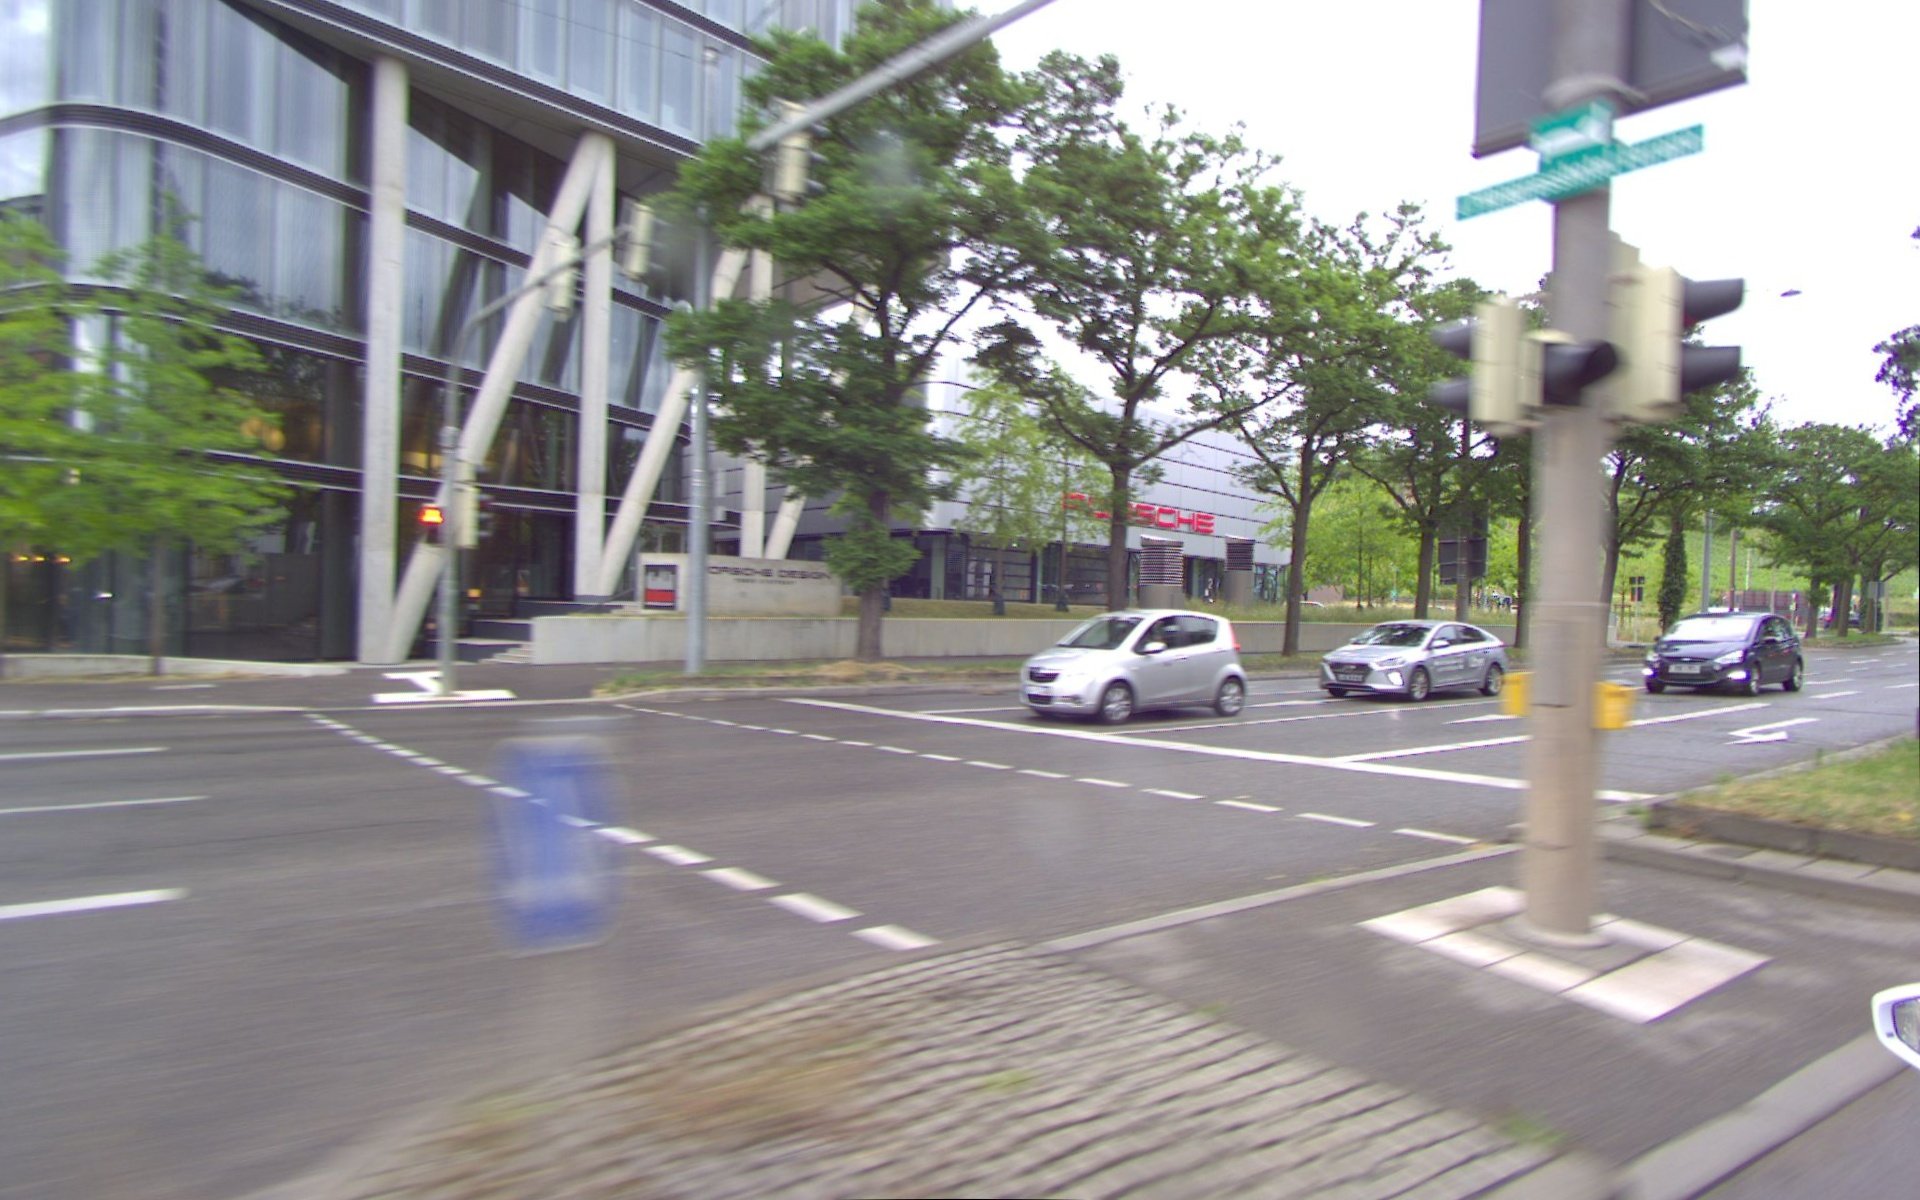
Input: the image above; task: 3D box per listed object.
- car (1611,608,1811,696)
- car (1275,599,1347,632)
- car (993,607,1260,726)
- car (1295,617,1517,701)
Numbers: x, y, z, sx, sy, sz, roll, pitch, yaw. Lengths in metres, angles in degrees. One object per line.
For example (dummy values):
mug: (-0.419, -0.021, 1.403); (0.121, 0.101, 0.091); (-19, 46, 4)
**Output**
car: (15.717, 1.015, 20.918); (5.072, 1.637, 1.980); (1, -1, -37)
car: (22.463, 1.000, 64.329); (3.938, 2.040, 1.991); (0, 0, 39)
car: (2.509, 0.906, 14.811); (3.780, 1.540, 1.738); (1, -1, -36)
car: (8.568, 1.064, 19.150); (4.610, 1.430, 1.802); (1, -2, -36)
